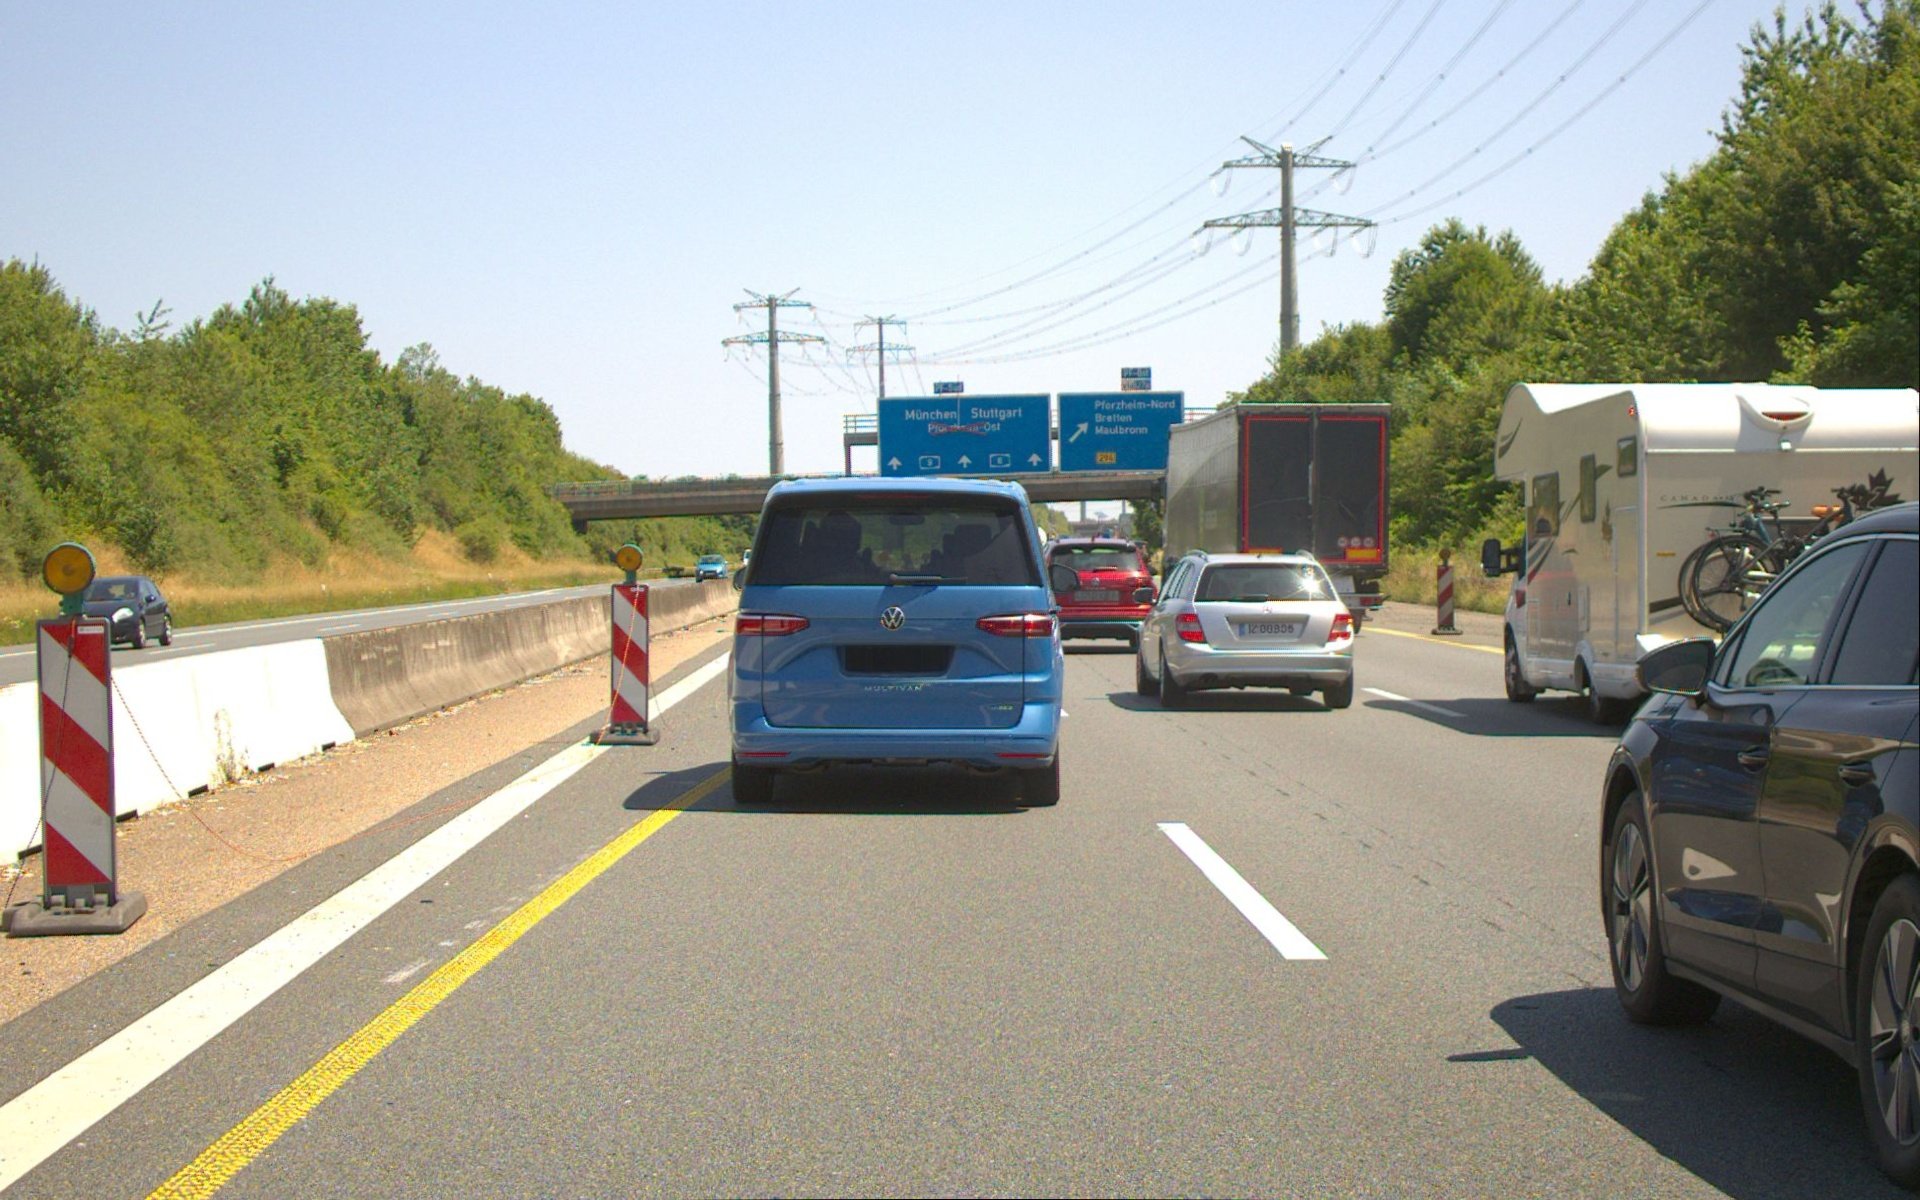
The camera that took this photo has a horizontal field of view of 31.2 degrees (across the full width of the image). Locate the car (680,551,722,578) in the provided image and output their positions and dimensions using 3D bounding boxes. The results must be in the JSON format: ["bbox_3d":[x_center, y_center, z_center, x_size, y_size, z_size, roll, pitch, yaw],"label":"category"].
[{"bbox_3d":[-14.639,-2.018,194.212,1.993,1.393,4.000,-2,1,1],"label":"car"}]

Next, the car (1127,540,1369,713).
[{"bbox_3d":[2.674,0.206,32.838,1.770,1.512,4.360,1,1,-2],"label":"car"}]

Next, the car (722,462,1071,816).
[{"bbox_3d":[-0.423,0.181,20.892,1.874,1.905,4.360,1,1,-2],"label":"car"}]

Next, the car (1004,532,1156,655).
[{"bbox_3d":[1.684,-0.123,49.647,1.874,1.665,4.360,1,1,-2],"label":"car"}]

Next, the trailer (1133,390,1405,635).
[{"bbox_3d":[5.460,-1.552,63.563,2.783,4.033,13.114,1,1,-4],"label":"trailer"}]

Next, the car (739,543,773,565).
[{"bbox_3d":[-13.868,-3.115,233.745,1.993,1.393,4.000,-2,1,1],"label":"car"}]

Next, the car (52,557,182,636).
[{"bbox_3d":[-16.747,-0.088,68.444,1.708,1.459,3.850,-2,1,-2],"label":"car"}]

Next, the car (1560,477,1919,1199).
[{"bbox_3d":[2.917,0.542,9.091,1.700,1.649,4.430,1,1,-2],"label":"car"}]

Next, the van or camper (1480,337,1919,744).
[{"bbox_3d":[6.331,-0.503,29.694,2.369,3.033,7.633,1,1,-1],"label":"van or camper"}]

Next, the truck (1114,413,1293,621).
[{"bbox_3d":[4.919,-1.677,70.481,2.732,4.033,5.794,1,1,-5],"label":"truck"}]

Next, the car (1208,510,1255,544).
[{"bbox_3d":[13.741,-3.701,174.165,1.874,1.665,4.360,1,1,-2],"label":"car"}]
